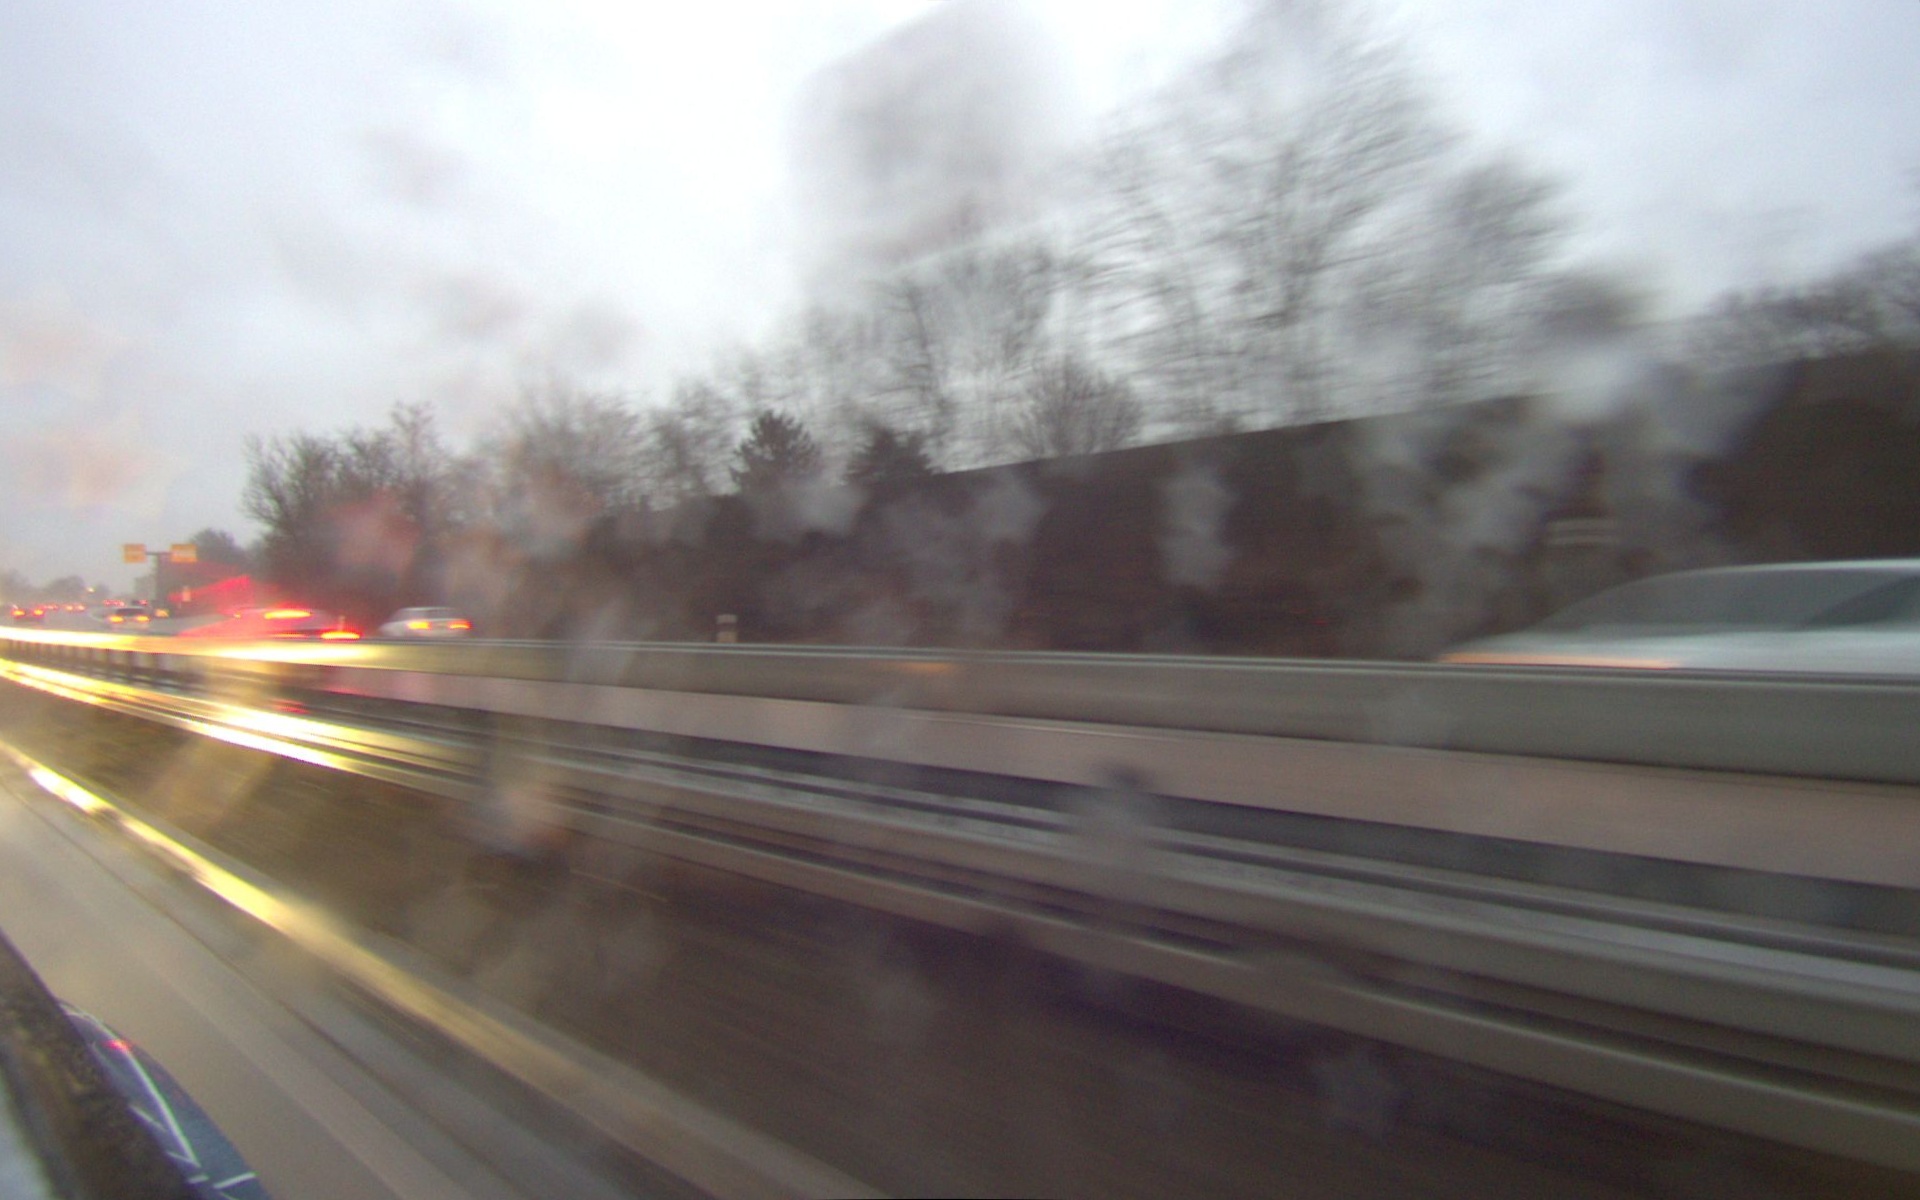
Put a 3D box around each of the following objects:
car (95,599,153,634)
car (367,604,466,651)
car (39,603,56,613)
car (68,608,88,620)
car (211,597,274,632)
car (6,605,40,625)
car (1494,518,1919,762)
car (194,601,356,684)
[{"bbox_3d":[-47.547,0.924,57.495,4.786,1.846,1.863,0,1,42],"label":"car"},{"bbox_3d":[-19.687,0.946,36.596,4.112,1.550,1.843,0,1,42],"label":"car"},{"bbox_3d":[-137.998,1.203,153.088,1.717,1.506,3.845,-2,1,-45],"label":"car"},{"bbox_3d":[-120.723,1.917,138.528,4.853,1.578,1.684,0,1,45],"label":"car"},{"bbox_3d":[-39.734,0.774,56.006,4.786,1.846,1.860,0,1,42],"label":"car"},{"bbox_3d":[-78.850,1.242,85.177,4.135,1.521,1.763,0,1,43],"label":"car"},{"bbox_3d":[6.810,0.253,7.890,4.430,1.678,1.675,0,1,41],"label":"car"},{"bbox_3d":[-13.731,0.772,20.200,3.999,1.452,1.736,0,1,42],"label":"car"}]
